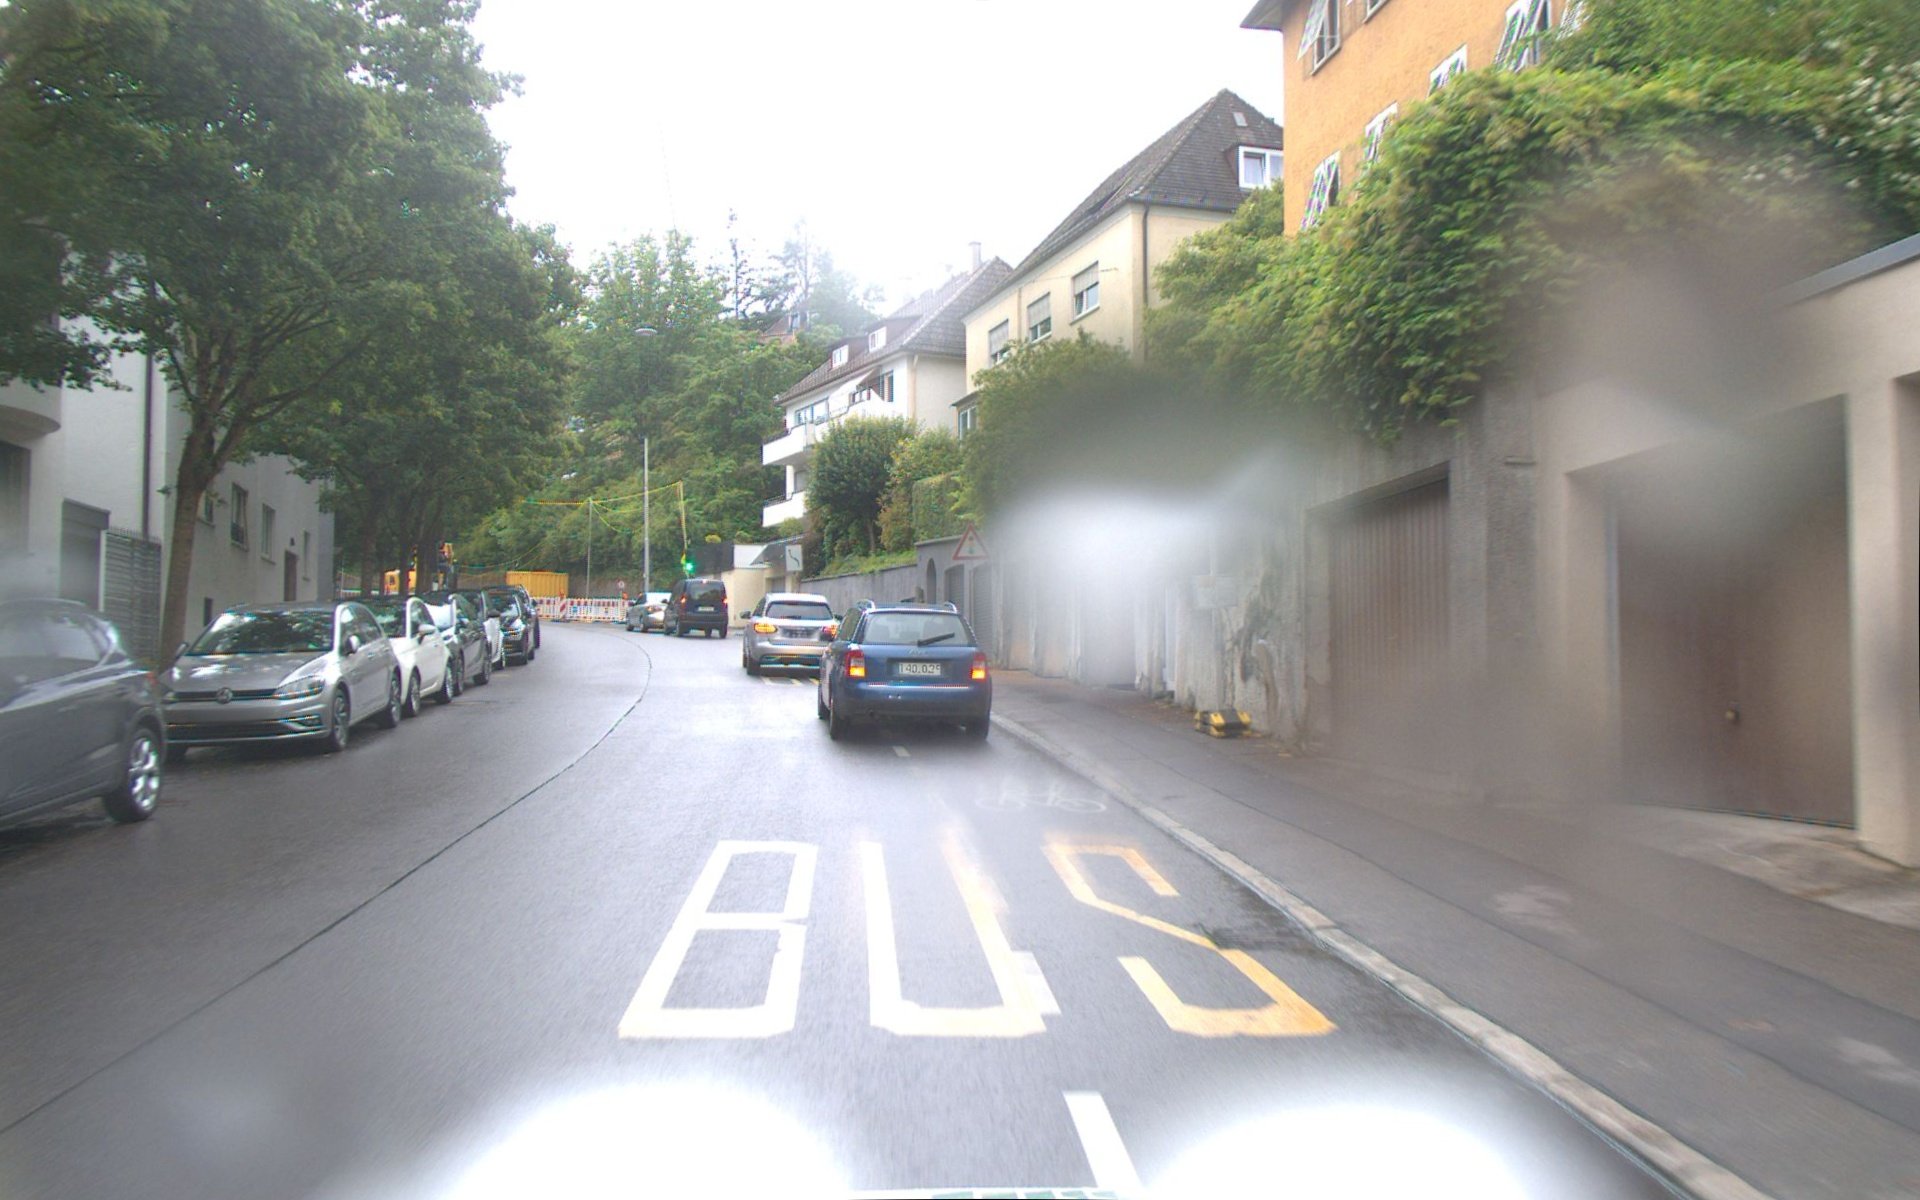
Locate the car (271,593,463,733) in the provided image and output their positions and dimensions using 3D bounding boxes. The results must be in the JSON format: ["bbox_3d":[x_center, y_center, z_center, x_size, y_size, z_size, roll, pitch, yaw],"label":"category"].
[{"bbox_3d":[-7.525,0.737,21.287,1.545,1.514,3.464,-3,1,-8],"label":"car"}]

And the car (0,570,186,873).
[{"bbox_3d":[-6.235,0.731,9.904,1.587,1.687,3.919,-4,0,-6],"label":"car"}]

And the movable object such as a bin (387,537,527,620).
[{"bbox_3d":[-25.836,-1.140,84.858,7.171,4.084,2.821,1,0,32],"label":"movable object such as a bin"}]

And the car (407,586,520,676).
[{"bbox_3d":[-9.360,0.564,31.366,1.527,1.537,3.376,-3,0,-9],"label":"car"}]

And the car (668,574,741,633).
[{"bbox_3d":[-8.425,0.099,54.221,1.960,1.825,3.985,-1,1,-15],"label":"car"}]

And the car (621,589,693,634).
[{"bbox_3d":[-10.929,0.391,59.471,1.697,1.512,4.047,-1,1,-23],"label":"car"}]

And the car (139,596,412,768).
[{"bbox_3d":[-6.994,0.769,17.320,1.587,1.496,3.965,-3,0,-7],"label":"car"}]

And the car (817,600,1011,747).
[{"bbox_3d":[-0.626,0.739,18.696,1.752,1.467,3.956,0,0,-8],"label":"car"}]

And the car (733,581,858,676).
[{"bbox_3d":[-3.157,0.478,31.050,1.892,1.646,4.308,1,0,-12],"label":"car"}]

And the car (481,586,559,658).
[{"bbox_3d":[-10.513,0.513,39.688,1.604,1.592,3.836,-2,0,-12],"label":"car"}]

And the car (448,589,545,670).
[{"bbox_3d":[-9.766,0.600,35.078,1.527,1.514,4.087,-3,0,-10],"label":"car"}]

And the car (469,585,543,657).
[{"bbox_3d":[-12.390,0.510,45.116,1.656,1.635,4.557,-8,3,-15],"label":"car"}]

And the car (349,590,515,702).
[{"bbox_3d":[-8.218,0.672,26.110,1.633,1.514,4.468,-3,0,-7],"label":"car"}]
